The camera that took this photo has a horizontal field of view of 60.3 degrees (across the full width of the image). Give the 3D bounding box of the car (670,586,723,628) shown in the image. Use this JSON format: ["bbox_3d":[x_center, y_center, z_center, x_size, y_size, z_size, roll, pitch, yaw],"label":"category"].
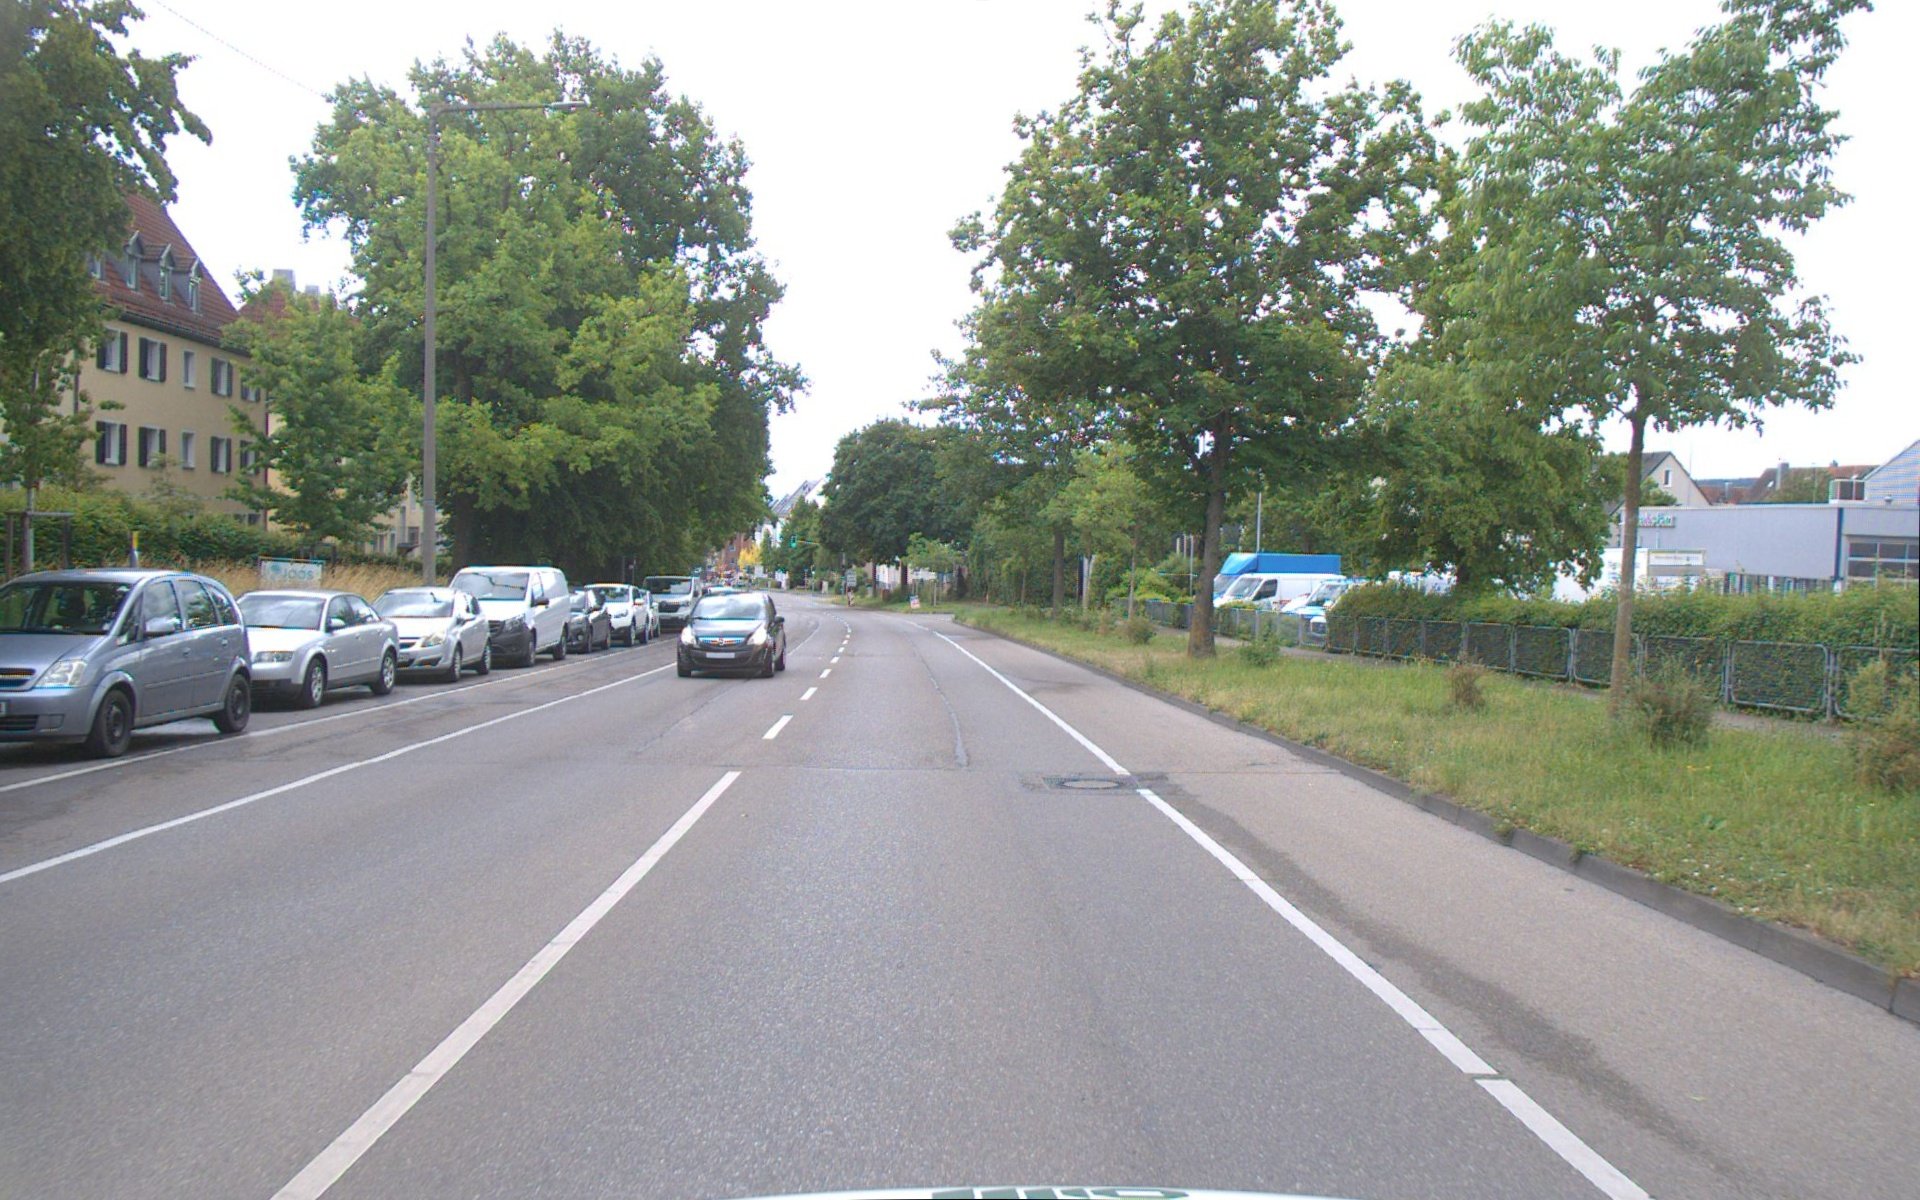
[{"bbox_3d":[-10.834,0.279,68.239,1.731,1.662,4.155,1,0,-3],"label":"car"}]

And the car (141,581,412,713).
[{"bbox_3d":[-8.705,0.543,21.494,1.732,1.521,4.356,0,0,0],"label":"car"}]

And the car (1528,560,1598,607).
[{"bbox_3d":[36.890,-1.058,101.038,2.222,2.723,5.419,2,3,41],"label":"car"}]

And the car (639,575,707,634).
[{"bbox_3d":[-10.136,0.137,58.777,1.829,1.998,5.123,1,0,-4],"label":"car"}]

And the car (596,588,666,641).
[{"bbox_3d":[-9.989,0.424,50.410,1.629,1.505,4.086,1,0,-5],"label":"car"}]

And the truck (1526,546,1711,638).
[{"bbox_3d":[27.515,-0.325,69.745,2.800,3.519,9.522,2,0,-9],"label":"truck"}]

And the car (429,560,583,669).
[{"bbox_3d":[-8.956,0.233,33.068,1.732,1.964,5.153,2,1,-2],"label":"car"}]

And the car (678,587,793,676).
[{"bbox_3d":[-3.994,0.531,29.950,1.604,1.493,3.999,0,0,-1],"label":"car"}]

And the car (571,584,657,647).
[{"bbox_3d":[-9.193,0.397,44.216,1.640,1.592,4.278,0,0,-4],"label":"car"}]

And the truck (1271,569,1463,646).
[{"bbox_3d":[13.021,0.250,52.759,6.169,2.251,2.224,2,0,-31],"label":"truck"}]

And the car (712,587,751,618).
[{"bbox_3d":[-11.864,0.132,86.012,1.732,1.600,4.755,0,0,-4],"label":"car"}]

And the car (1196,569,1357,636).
[{"bbox_3d":[12.299,0.102,64.149,5.938,2.408,2.342,2,0,-27],"label":"car"}]

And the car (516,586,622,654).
[{"bbox_3d":[-9.258,0.454,39.418,1.639,1.514,4.044,-1,0,-1],"label":"car"}]

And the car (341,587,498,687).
[{"bbox_3d":[-8.761,0.553,27.107,1.603,1.458,3.945,2,1,-6],"label":"car"}]

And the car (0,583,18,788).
[{"bbox_3d":[-7.808,0.629,10.059,1.731,1.473,4.150,1,1,1],"label":"car"}]

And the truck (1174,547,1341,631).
[{"bbox_3d":[13.019,-0.471,72.131,7.079,3.538,2.596,0,0,-28],"label":"truck"}]

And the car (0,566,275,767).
[{"bbox_3d":[-8.028,0.506,15.375,1.732,1.619,4.133,1,1,-2],"label":"car"}]

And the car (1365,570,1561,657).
[{"bbox_3d":[13.789,0.378,45.240,5.184,2.226,2.053,2,0,-28],"label":"car"}]
